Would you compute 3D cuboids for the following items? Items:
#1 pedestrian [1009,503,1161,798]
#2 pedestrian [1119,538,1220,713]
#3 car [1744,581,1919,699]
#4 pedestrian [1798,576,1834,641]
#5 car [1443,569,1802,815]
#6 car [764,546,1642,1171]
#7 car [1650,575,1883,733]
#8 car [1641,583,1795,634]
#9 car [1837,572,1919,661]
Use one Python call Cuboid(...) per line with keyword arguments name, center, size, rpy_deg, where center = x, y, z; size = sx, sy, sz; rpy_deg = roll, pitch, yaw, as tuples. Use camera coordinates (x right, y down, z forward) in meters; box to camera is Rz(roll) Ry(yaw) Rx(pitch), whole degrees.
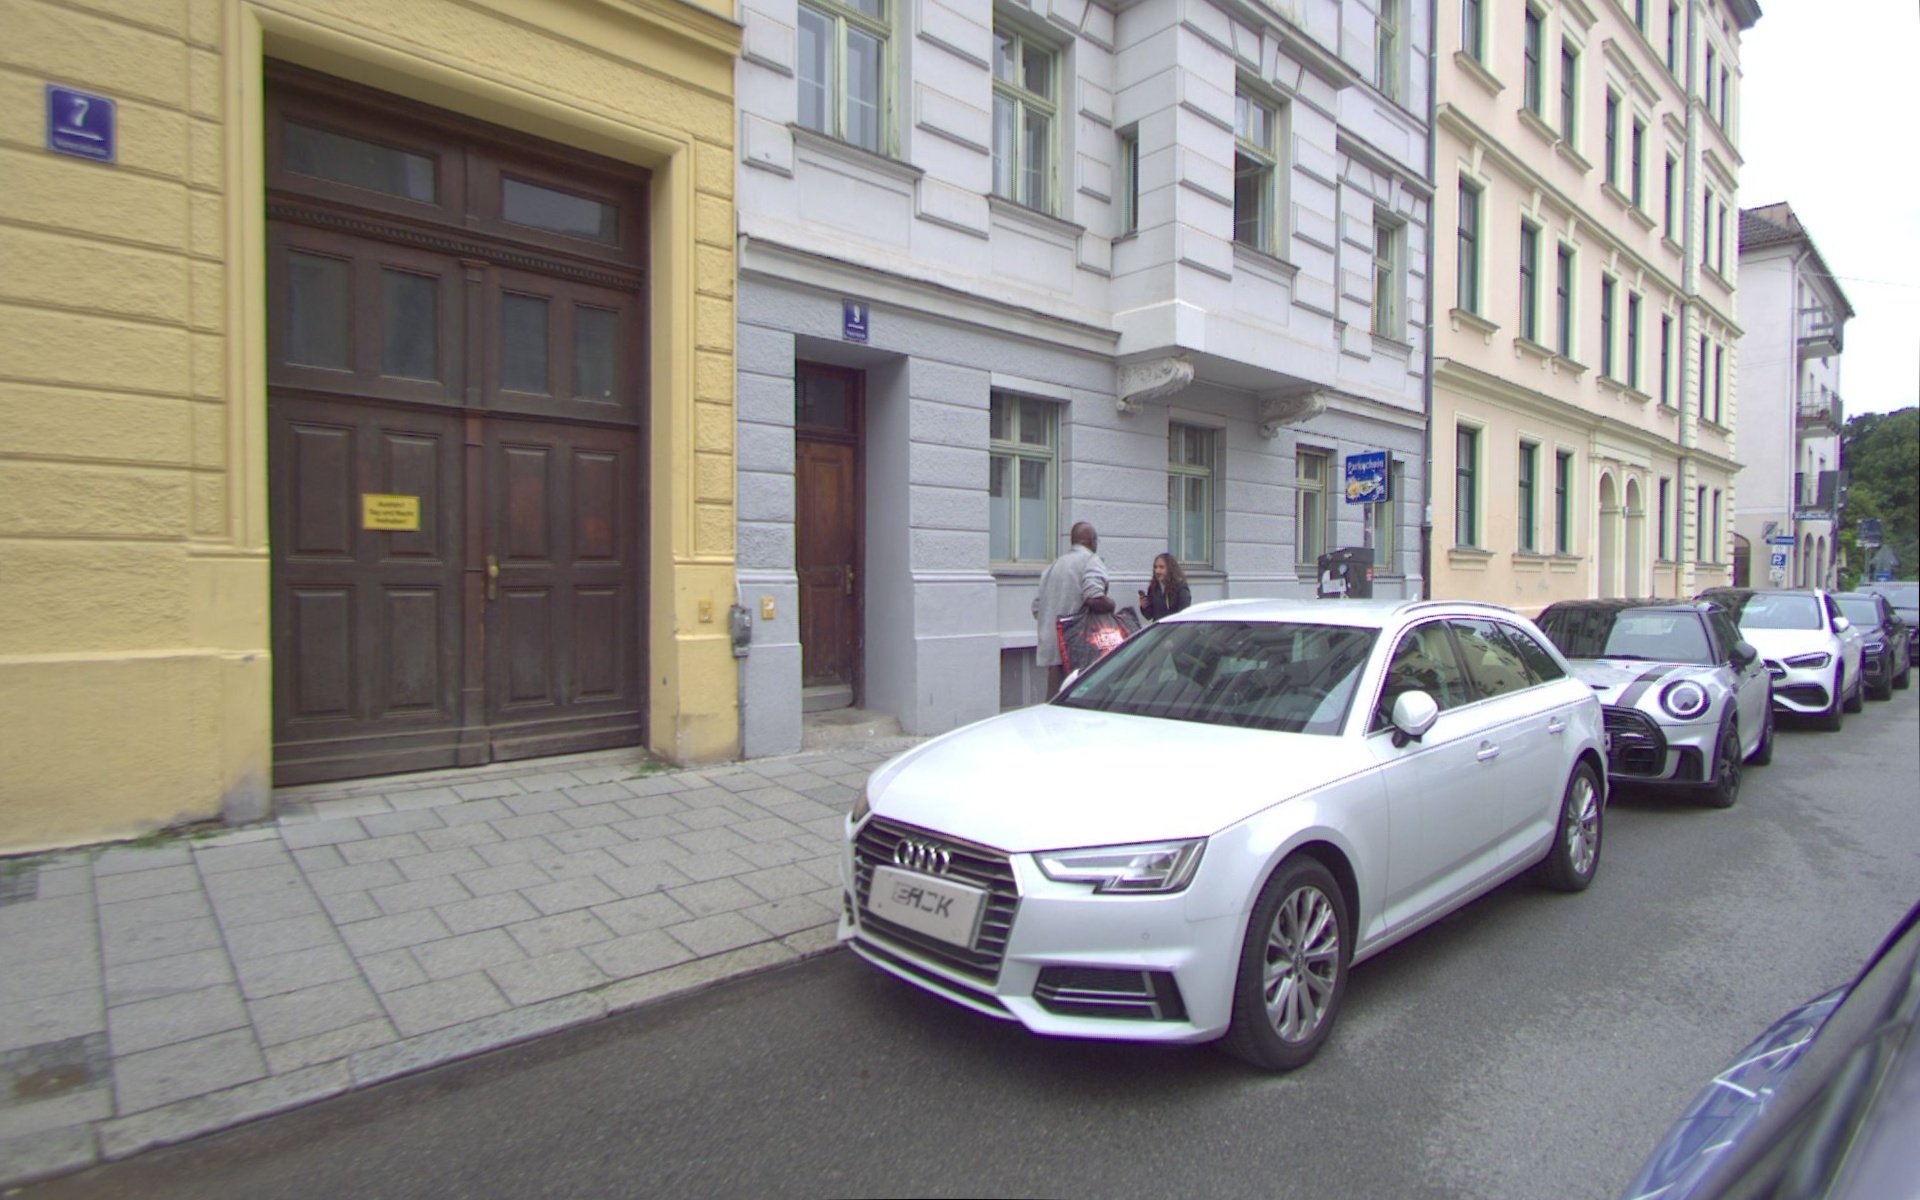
Cuboid(name="pedestrian", center=(0.867, 0.313, 6.998), size=(0.792, 1.886, 0.702), rpy_deg=(0, 1, -44))
Cuboid(name="pedestrian", center=(2.011, 0.217, 9.728), size=(0.614, 1.593, 0.646), rpy_deg=(0, 3, -40))
Cuboid(name="car", center=(13.799, 0.518, 15.824), size=(4.072, 1.586, 1.719), rpy_deg=(-1, 2, -42))
Cuboid(name="pedestrian", center=(24.672, 0.234, 29.175), size=(0.718, 1.825, 0.697), rpy_deg=(0, 1, -43))
Cuboid(name="car", center=(5.563, 0.532, 8.294), size=(1.718, 1.528, 3.873), rpy_deg=(2, 2, 45))
Cuboid(name="car", center=(1.467, 0.589, 4.594), size=(4.393, 1.528, 1.719), rpy_deg=(-1, 2, -43))
Cuboid(name="car", center=(10.126, 0.526, 12.584), size=(4.252, 1.621, 1.718), rpy_deg=(-1, 2, -44))
Cuboid(name="car", center=(25.749, 0.245, 34.469), size=(1.684, 1.585, 3.990), rpy_deg=(-1, 2, -45))
Cuboid(name="car", center=(22.074, 0.316, 23.423), size=(5.024, 1.884, 1.997), rpy_deg=(-1, 2, -41))
